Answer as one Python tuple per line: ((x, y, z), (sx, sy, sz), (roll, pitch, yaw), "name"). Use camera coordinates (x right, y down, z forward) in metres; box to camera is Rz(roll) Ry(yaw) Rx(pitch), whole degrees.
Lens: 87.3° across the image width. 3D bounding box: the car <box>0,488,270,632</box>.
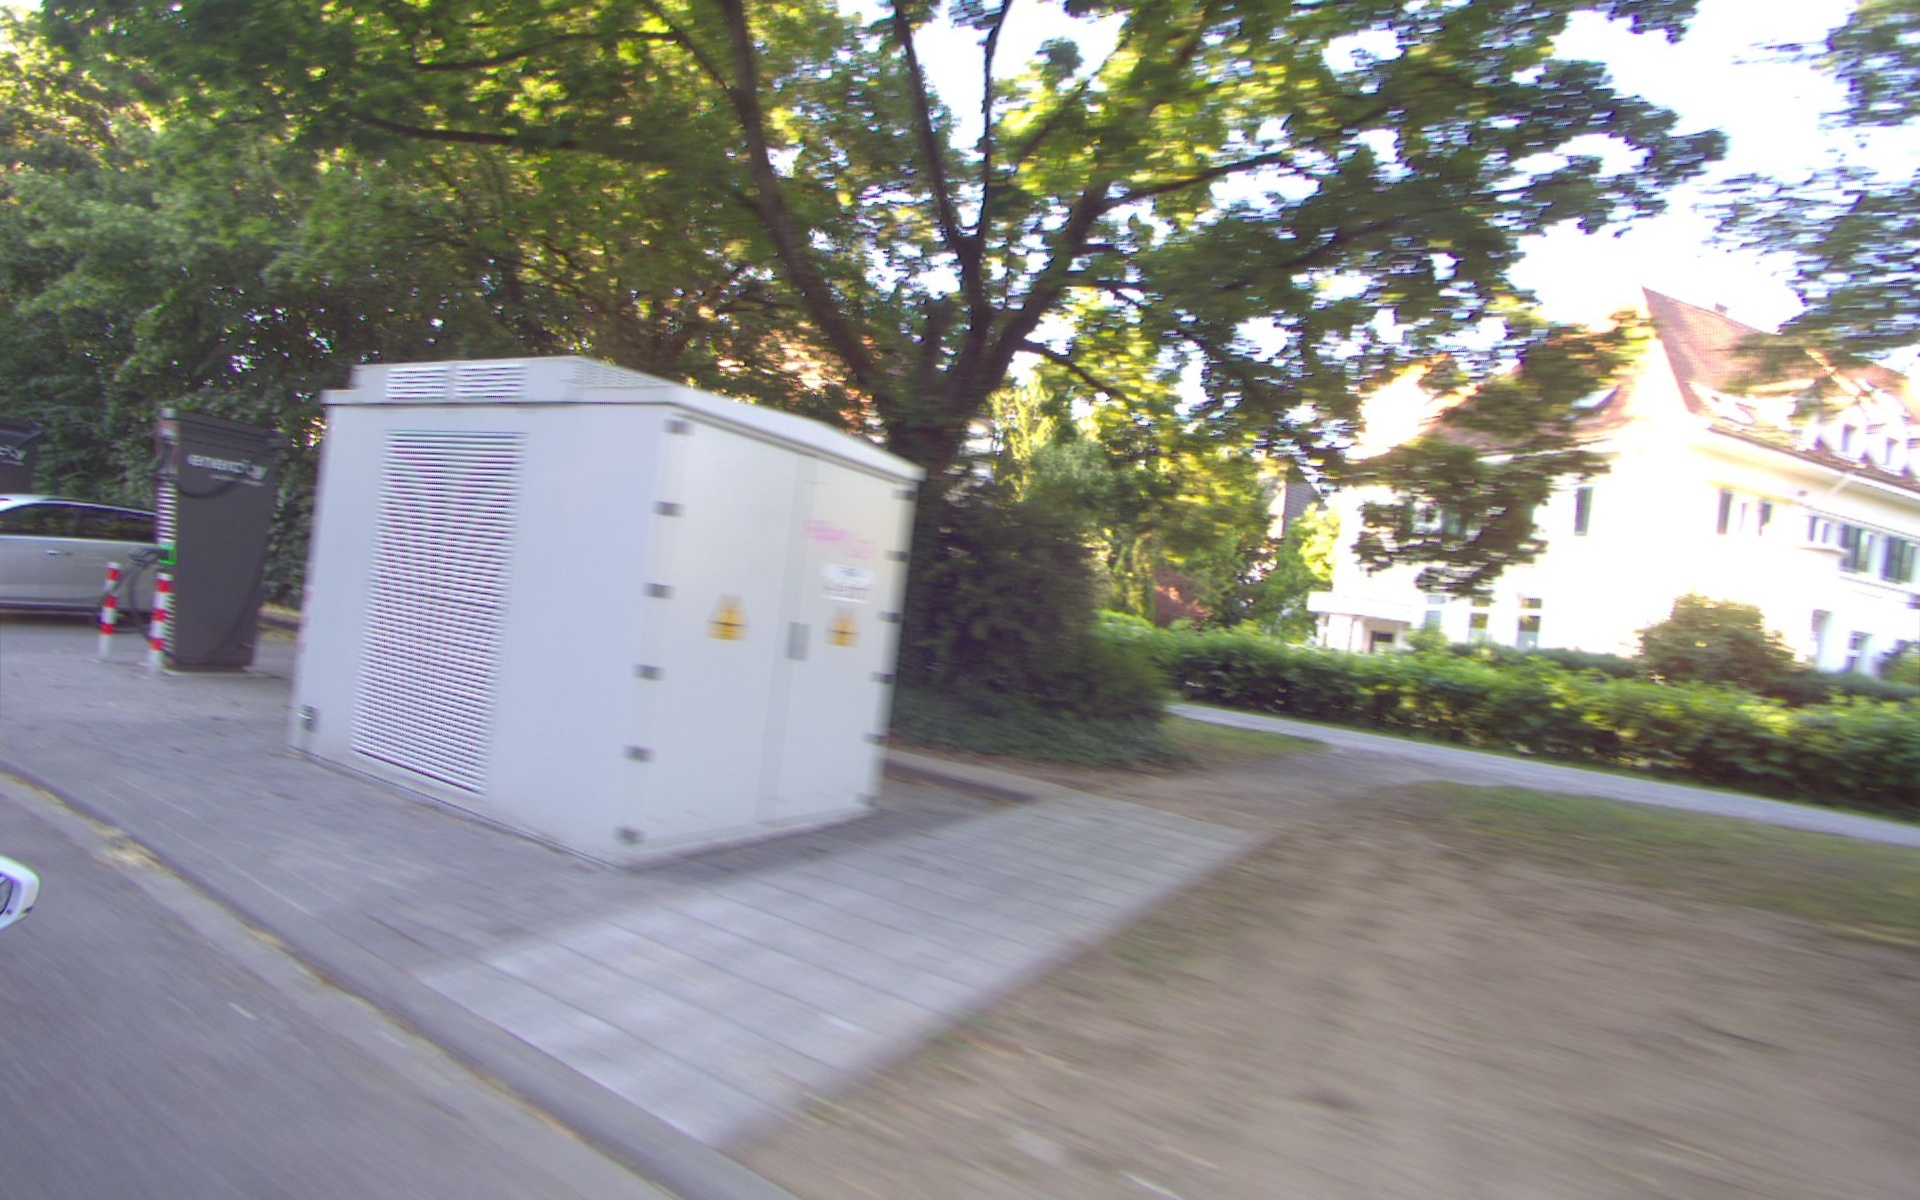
((-10.973, -0.532, 11.724), (1.752, 1.487, 4.447), (7, 0, 29), "car")
